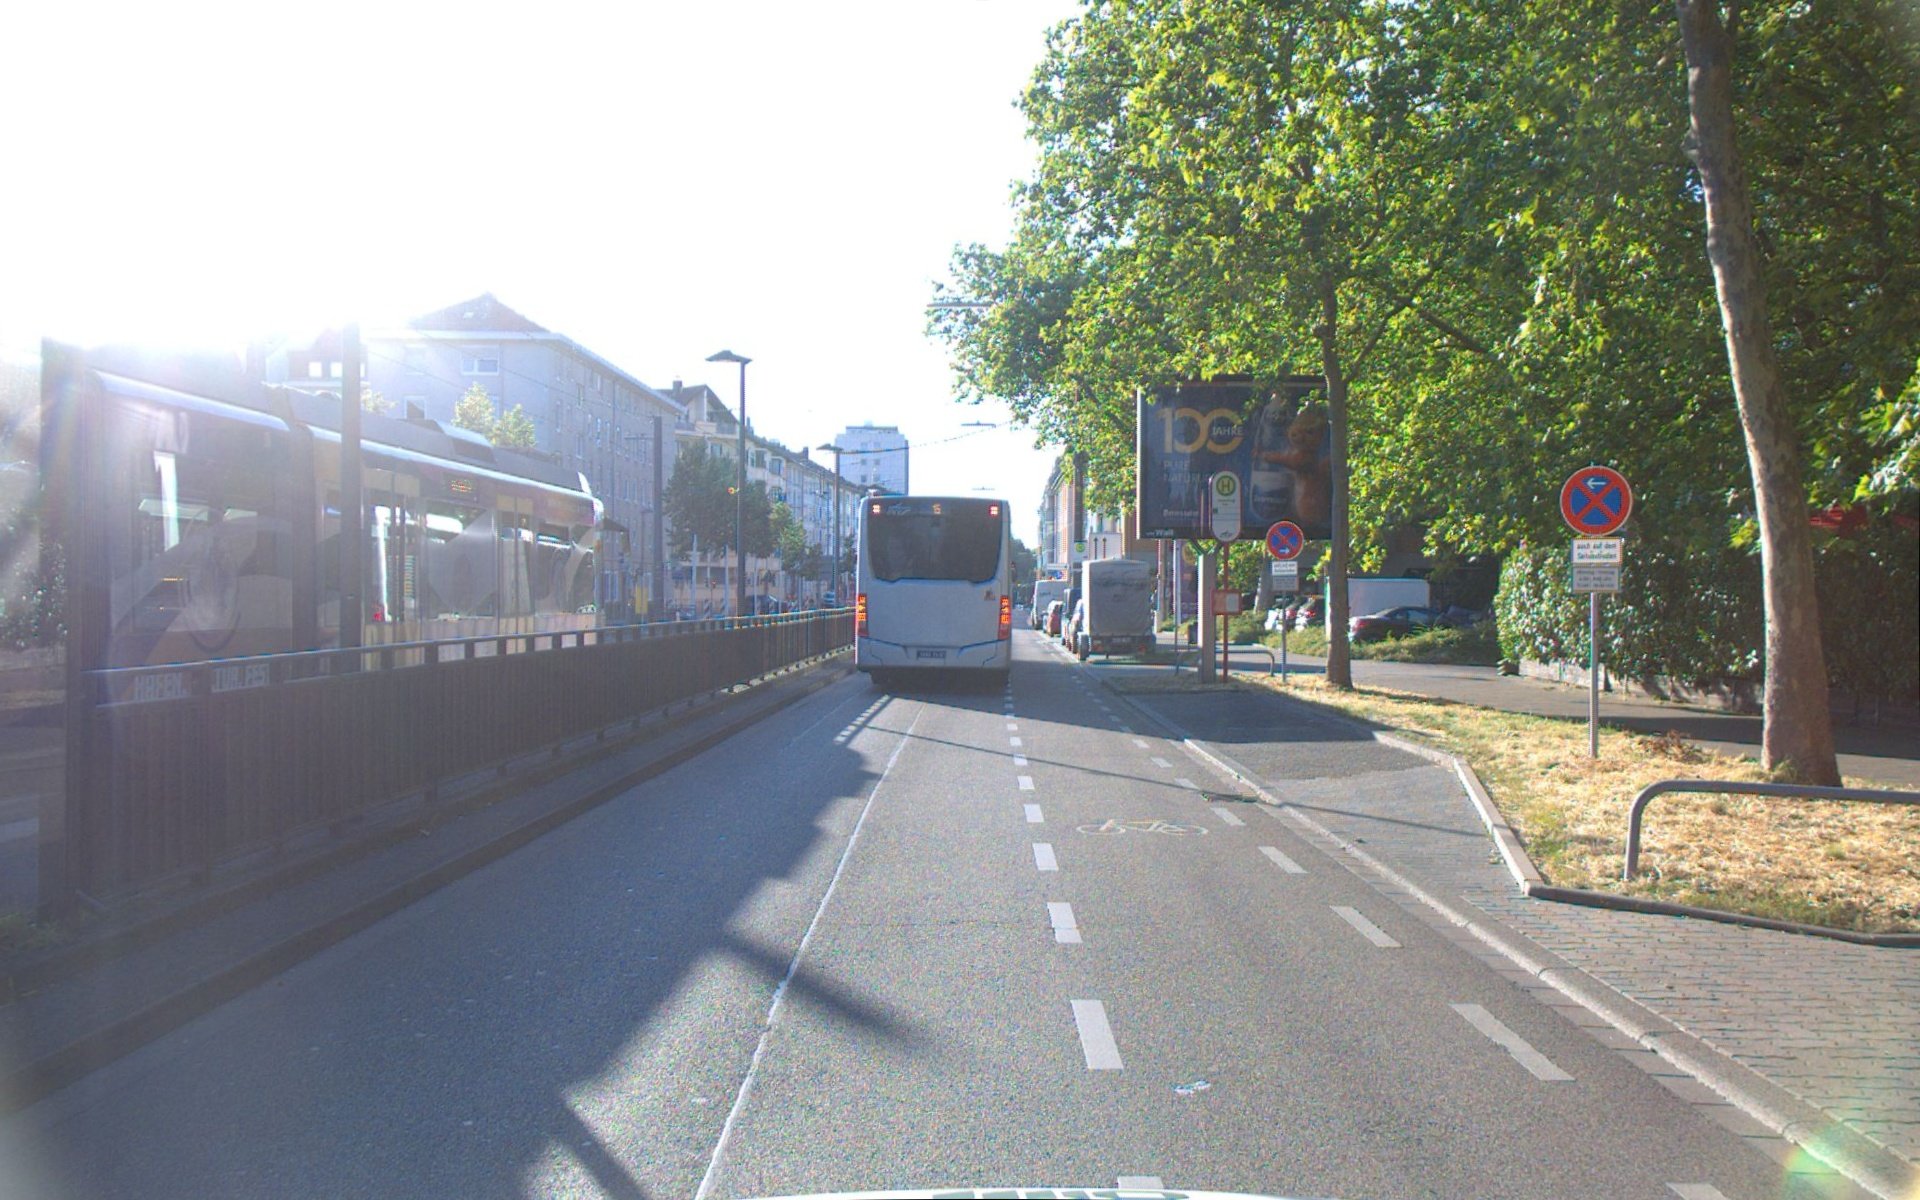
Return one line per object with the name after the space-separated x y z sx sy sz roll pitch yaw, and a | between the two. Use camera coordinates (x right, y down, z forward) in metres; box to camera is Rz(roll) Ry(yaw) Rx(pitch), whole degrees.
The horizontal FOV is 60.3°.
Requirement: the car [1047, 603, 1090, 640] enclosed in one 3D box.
4.732 0.931 72.487 1.637 1.488 3.934 -2 0 1 | car

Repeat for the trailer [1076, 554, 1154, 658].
4.028 0.161 43.340 1.795 2.602 3.319 0 0 1 | trailer

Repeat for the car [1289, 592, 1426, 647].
12.285 0.603 51.286 3.839 1.665 1.706 0 0 1 | car

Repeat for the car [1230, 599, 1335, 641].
12.646 0.795 65.037 3.839 1.616 1.706 0 0 1 | car

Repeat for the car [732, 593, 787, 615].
-15.460 0.299 127.809 4.051 1.646 2.000 0 0 -1 | car

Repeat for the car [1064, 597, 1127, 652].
4.089 0.725 50.409 1.665 1.616 3.828 0 0 1 | car

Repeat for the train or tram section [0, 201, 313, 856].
-6.673 -0.392 6.901 2.672 3.611 12.786 0 0 1 | train or tram section

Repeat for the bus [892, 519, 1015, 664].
0.001 -0.207 40.915 2.652 3.161 8.982 0 0 2 | bus

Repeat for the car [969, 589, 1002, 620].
1.608 0.264 102.432 1.952 1.847 4.001 0 0 2 | car

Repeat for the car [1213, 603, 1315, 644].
12.359 0.944 67.380 3.839 1.616 1.706 0 0 1 | car

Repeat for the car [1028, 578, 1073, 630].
4.823 0.228 88.592 2.235 2.673 5.310 0 0 1 | car

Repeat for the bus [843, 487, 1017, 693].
-0.325 -0.181 31.046 2.677 3.194 10.705 0 0 1 | bus

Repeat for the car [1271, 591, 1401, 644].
12.164 0.567 53.652 3.839 1.666 1.706 0 0 1 | car

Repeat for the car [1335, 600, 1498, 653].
11.909 0.685 43.324 3.839 1.359 1.707 0 0 2 | car

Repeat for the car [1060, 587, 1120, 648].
4.399 0.587 56.496 1.809 1.991 4.544 0 0 1 | car

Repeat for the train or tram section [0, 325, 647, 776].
-6.454 -0.404 19.823 2.586 3.581 13.335 0 0 1 | train or tram section

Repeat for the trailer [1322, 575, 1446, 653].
11.767 0.371 46.017 3.000 2.106 1.879 0 0 2 | trailer
